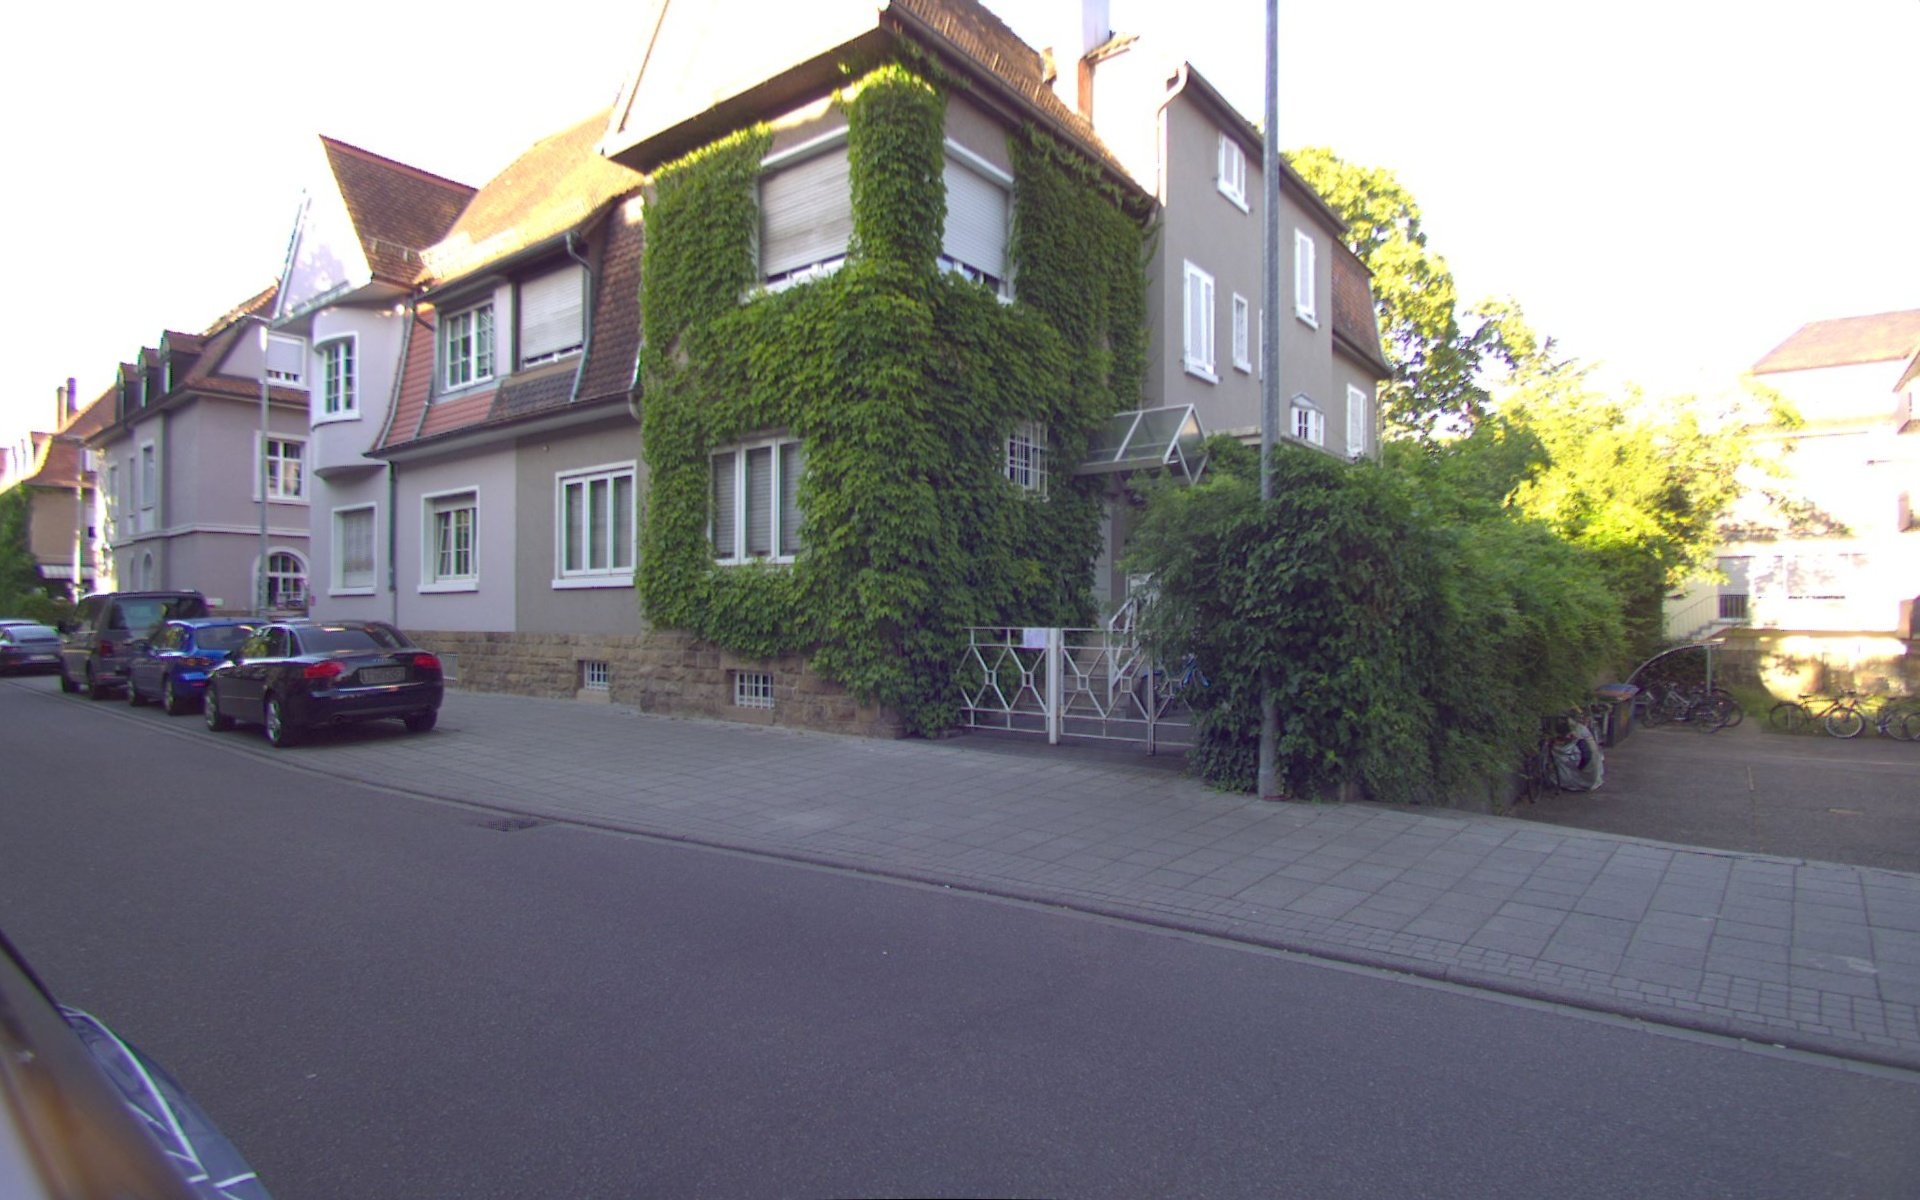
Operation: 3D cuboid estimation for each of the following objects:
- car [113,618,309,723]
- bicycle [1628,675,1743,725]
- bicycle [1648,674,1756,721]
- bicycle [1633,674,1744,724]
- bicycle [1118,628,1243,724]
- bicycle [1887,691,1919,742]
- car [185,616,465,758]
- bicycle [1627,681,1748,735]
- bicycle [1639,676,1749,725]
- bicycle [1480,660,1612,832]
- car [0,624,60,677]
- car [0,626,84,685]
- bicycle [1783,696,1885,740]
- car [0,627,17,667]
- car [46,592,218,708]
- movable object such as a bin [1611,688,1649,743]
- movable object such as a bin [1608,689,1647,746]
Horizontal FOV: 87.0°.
[{"bbox_3d":[-12.455,1.077,16.736,4.060,1.457,1.745,-1,0,41],"label":"car"},{"bbox_3d":[18.666,2.559,26.082,2.337,1.142,0.685,-1,-4,41],"label":"bicycle"},{"bbox_3d":[20.356,2.655,27.802,2.337,1.186,0.685,-1,-4,41],"label":"bicycle"},{"bbox_3d":[19.216,2.584,26.736,2.337,1.186,0.685,-1,-4,41],"label":"bicycle"},{"bbox_3d":[2.892,0.937,13.118,0.476,1.111,2.172,-2,-1,45],"label":"bicycle"},{"bbox_3d":[21.541,2.565,22.002,2.005,1.080,0.558,-1,-4,41],"label":"bicycle"},{"bbox_3d":[-8.210,0.978,12.916,4.425,1.457,1.783,-1,0,41],"label":"car"},{"bbox_3d":[17.405,2.569,24.267,2.294,1.142,0.685,-1,-4,41],"label":"bicycle"},{"bbox_3d":[19.772,2.674,27.303,2.337,1.186,0.685,-1,-4,41],"label":"bicycle"},{"bbox_3d":[8.015,1.809,13.695,0.970,1.907,4.138,-2,-3,38],"label":"bicycle"},{"bbox_3d":[-29.026,1.500,30.875,4.061,1.478,1.907,-1,0,42],"label":"car"},{"bbox_3d":[-25.003,1.442,27.152,4.063,1.394,1.906,-1,0,44],"label":"car"},{"bbox_3d":[20.061,2.700,23.272,1.754,0.886,0.558,-1,-4,41],"label":"bicycle"},{"bbox_3d":[-35.191,1.685,36.335,3.676,1.372,1.641,-1,0,42],"label":"car"},{"bbox_3d":[-16.352,0.908,19.896,4.610,1.990,1.819,-1,0,41],"label":"car"},{"bbox_3d":[14.350,2.459,21.673,0.611,1.123,0.792,-2,-4,37],"label":"movable object such as a bin"},{"bbox_3d":[13.875,2.421,21.030,0.611,1.123,0.792,-2,-4,37],"label":"movable object such as a bin"}]
